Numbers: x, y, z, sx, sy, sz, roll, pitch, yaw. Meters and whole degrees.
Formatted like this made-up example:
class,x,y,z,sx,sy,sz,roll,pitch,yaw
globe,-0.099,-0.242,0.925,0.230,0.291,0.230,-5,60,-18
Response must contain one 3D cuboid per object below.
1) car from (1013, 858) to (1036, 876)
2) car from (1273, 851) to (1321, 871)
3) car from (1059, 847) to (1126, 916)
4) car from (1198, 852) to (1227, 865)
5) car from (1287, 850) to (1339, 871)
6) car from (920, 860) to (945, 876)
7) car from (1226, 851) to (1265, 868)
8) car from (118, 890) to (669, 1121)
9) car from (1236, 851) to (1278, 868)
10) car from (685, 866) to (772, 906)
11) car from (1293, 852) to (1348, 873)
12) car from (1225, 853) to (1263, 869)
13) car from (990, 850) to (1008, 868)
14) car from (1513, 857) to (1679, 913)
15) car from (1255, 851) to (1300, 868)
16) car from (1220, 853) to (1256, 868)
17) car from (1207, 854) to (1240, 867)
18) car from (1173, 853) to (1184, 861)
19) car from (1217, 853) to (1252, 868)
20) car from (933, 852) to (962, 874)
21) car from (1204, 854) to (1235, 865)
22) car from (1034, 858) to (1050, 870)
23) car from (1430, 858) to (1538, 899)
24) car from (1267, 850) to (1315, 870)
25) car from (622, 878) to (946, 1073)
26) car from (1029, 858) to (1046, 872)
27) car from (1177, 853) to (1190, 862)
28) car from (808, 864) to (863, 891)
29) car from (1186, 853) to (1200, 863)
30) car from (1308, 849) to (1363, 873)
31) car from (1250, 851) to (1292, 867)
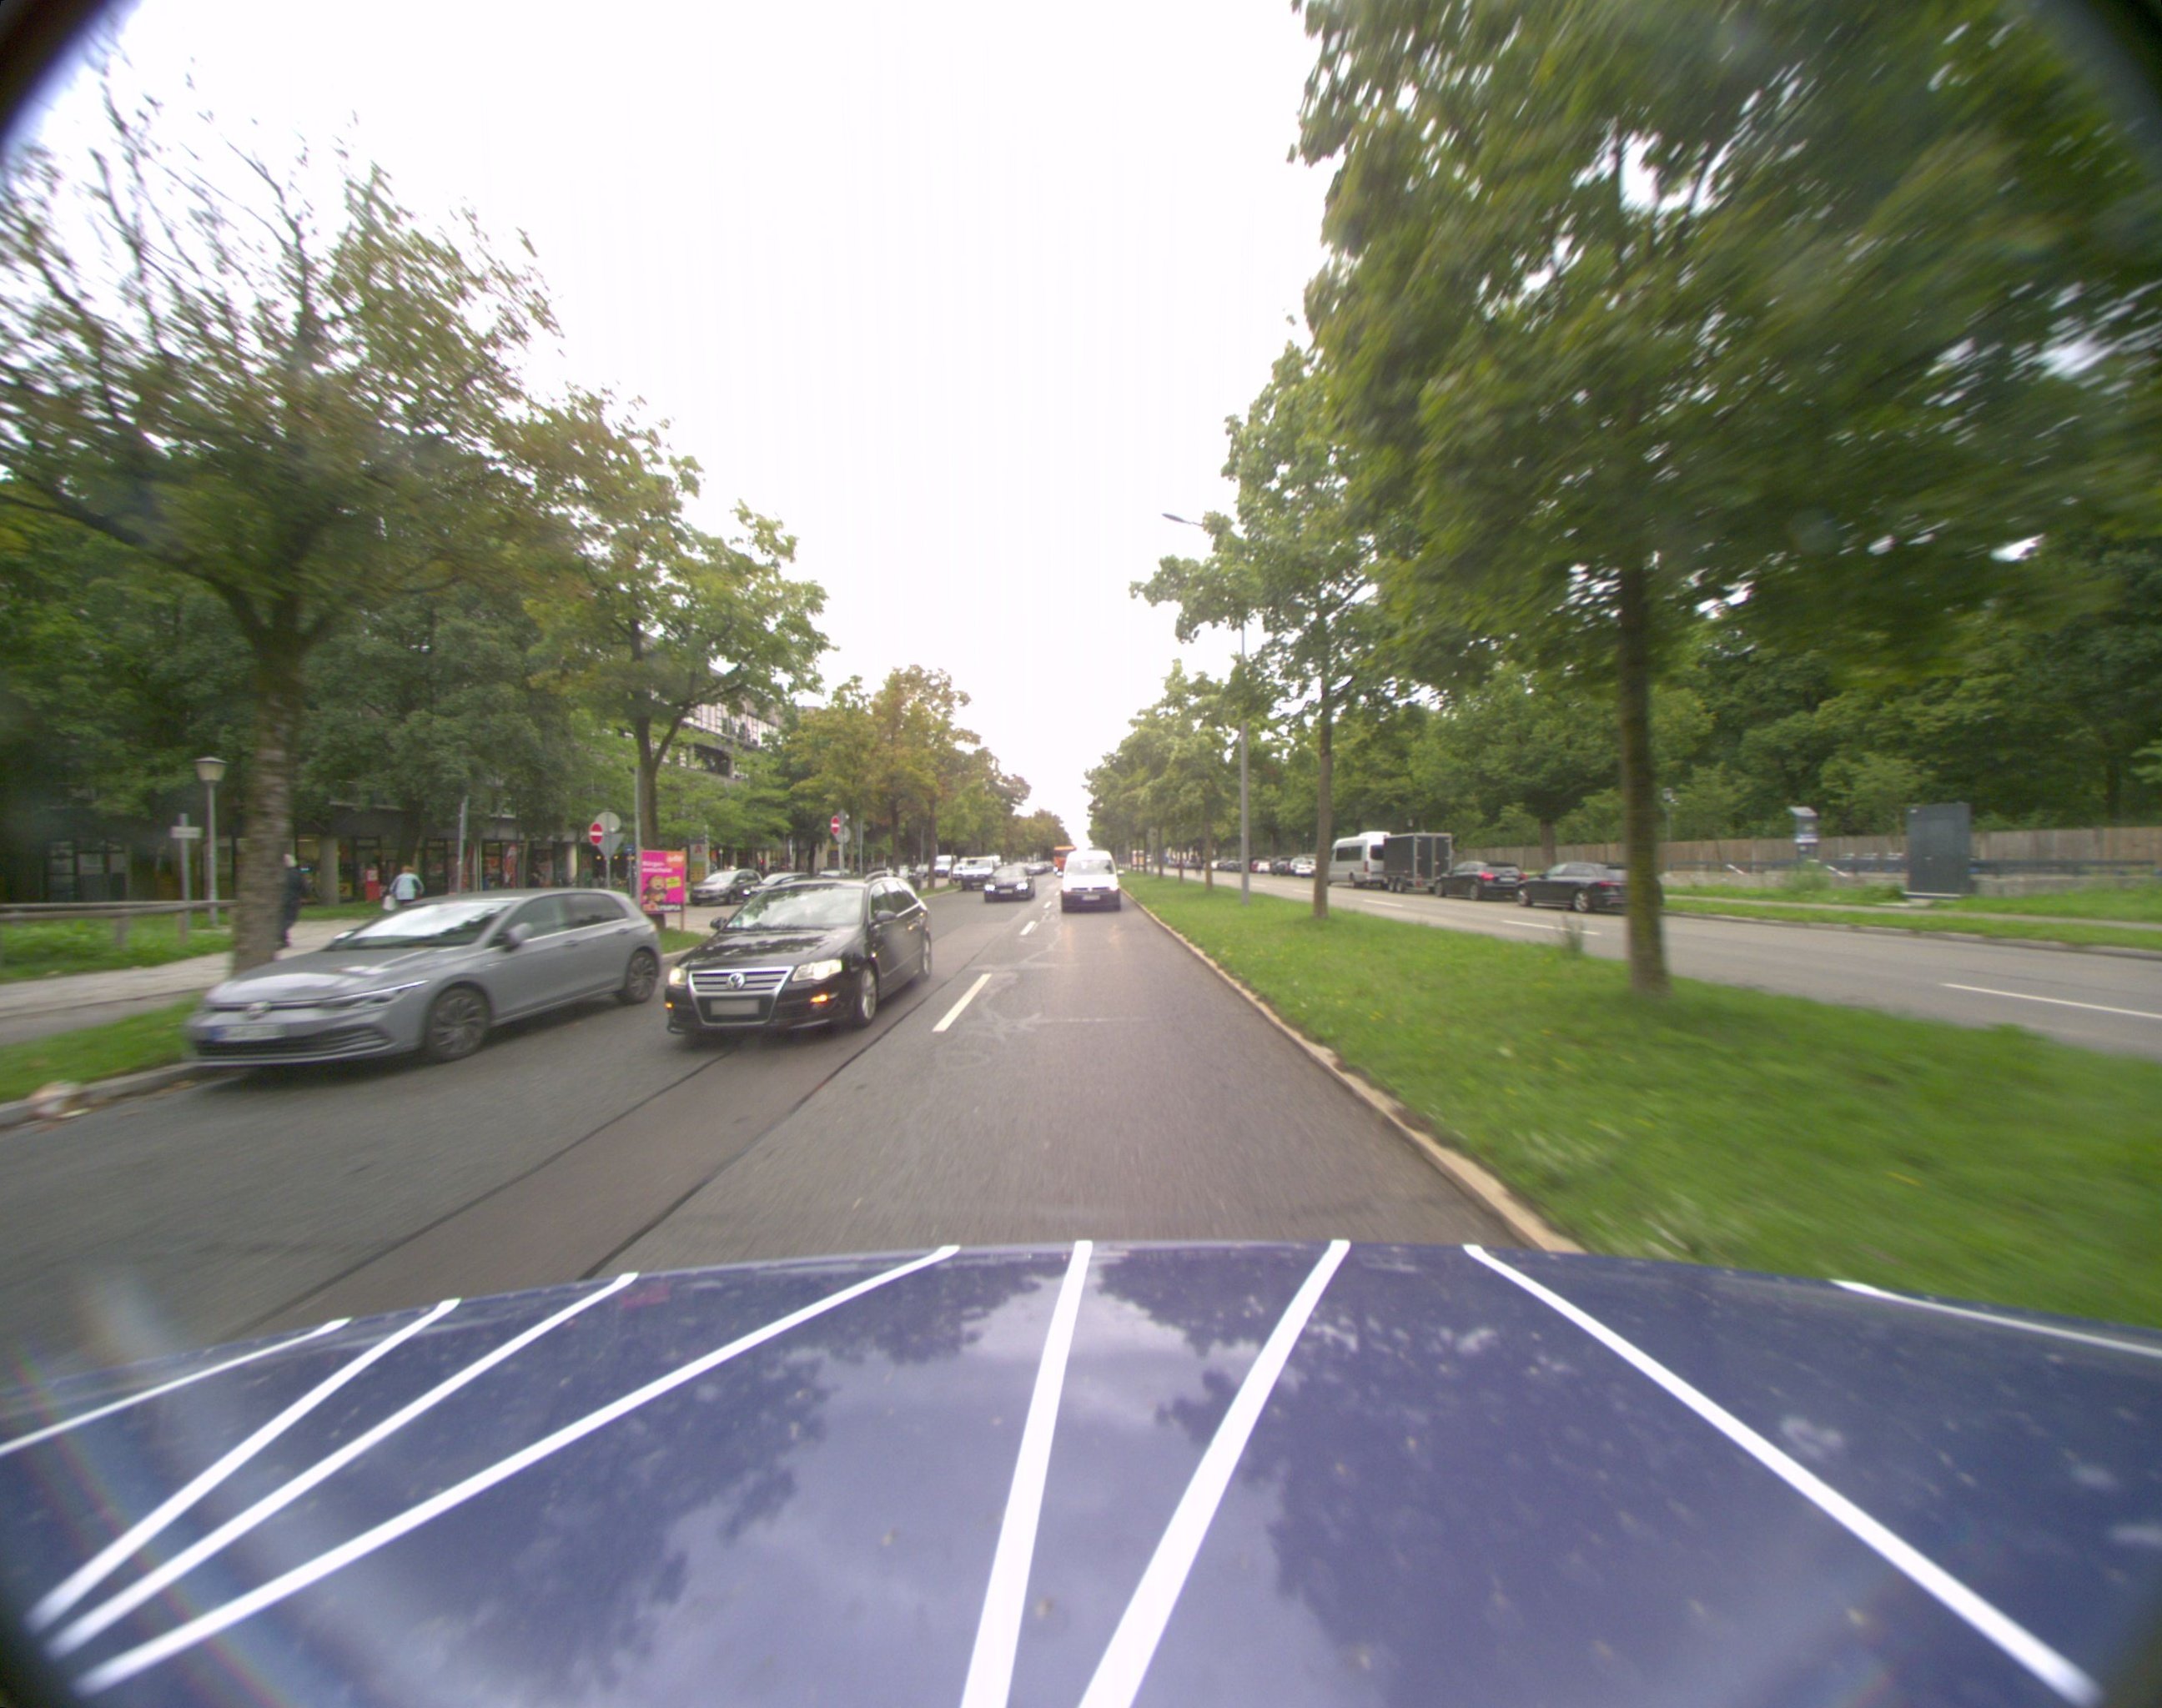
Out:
class,x,y,z,sx,sy,sz,roll,pitch,yaw
car,-5.443,1.240,73.789,1.686,1.513,4.465,-4,0,2
car,18.819,0.621,66.219,4.006,1.477,1.797,-3,0,-34
car,0.306,0.755,23.104,1.750,1.807,4.667,-3,0,0
car,18.938,0.584,109.592,4.006,1.718,1.777,-2,1,-33
car,19.307,0.507,63.228,4.331,1.564,1.797,-2,1,-33
car,-15.185,1.413,77.773,1.865,1.624,4.340,0,0,-3
car,18.244,0.605,84.122,4.006,1.548,1.887,-3,0,-32
car,-6.208,1.226,7.681,1.686,1.457,4.115,-3,0,2
car,18.858,0.596,81.549,4.005,1.548,1.888,-3,0,-27
car,-15.942,1.415,34.638,1.826,1.624,4.198,0,0,3
car,18.784,0.642,59.574,4.331,1.430,1.797,-2,1,-33
car,18.883,0.824,87.773,4.006,1.548,1.887,-3,0,-32
car,-12.418,0.735,115.715,1.978,2.641,6.006,-3,0,0
car,14.562,0.806,21.833,1.804,1.417,4.431,0,0,1
car,19.550,0.558,75.504,4.005,1.455,1.888,-3,0,-27
car,18.740,0.787,90.703,4.006,1.548,1.887,-3,0,-32
car,18.729,0.855,99.717,4.006,1.548,1.887,-3,0,-32
car,18.038,0.542,140.985,1.889,1.435,4.170,-2,0,5
car,19.012,0.820,94.175,4.006,1.548,1.887,-3,0,-32
car,-15.810,1.076,90.108,2.268,2.514,5.858,-1,0,1
car,18.733,0.770,102.974,4.006,1.358,1.588,-2,1,-30
car,-4.978,1.290,97.027,1.735,1.424,4.442,-3,0,0
car,14.810,0.851,28.181,1.804,1.376,4.238,0,0,1
car,19.078,0.514,69.162,4.005,1.577,1.798,-3,0,-28
car,-2.880,1.088,8.570,1.735,1.424,4.442,-3,0,2
car,-5.239,1.308,91.143,1.735,1.498,4.442,-3,0,0
car,17.876,0.623,132.658,1.889,1.435,4.170,-2,0,5
car,-15.670,1.467,48.695,1.826,1.522,4.603,0,0,2
car,17.808,0.662,120.773,1.889,1.435,4.170,-2,0,5
car,18.923,0.498,56.397,4.007,1.613,1.797,-2,1,-35
car,19.634,0.546,78.553,4.005,1.446,1.737,-3,0,-27
